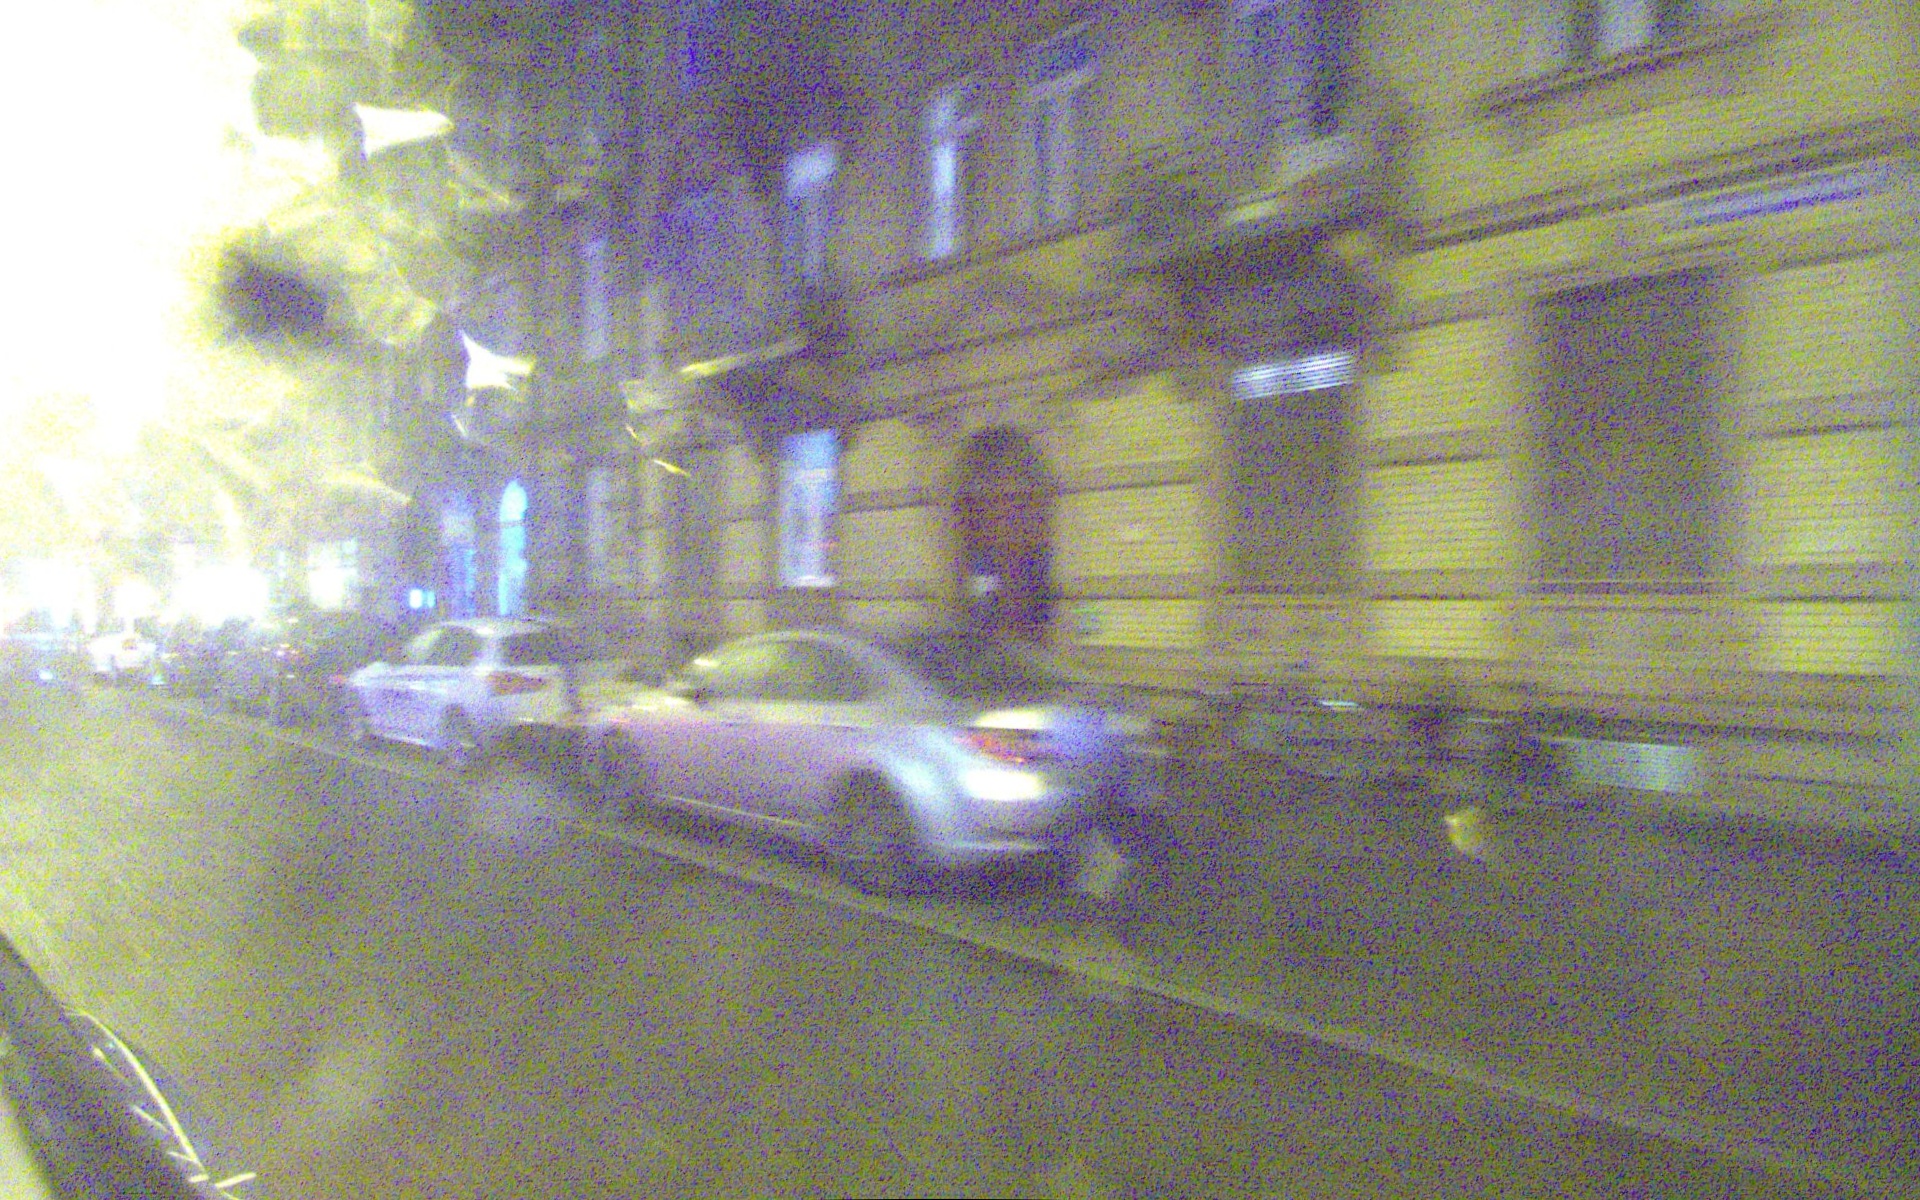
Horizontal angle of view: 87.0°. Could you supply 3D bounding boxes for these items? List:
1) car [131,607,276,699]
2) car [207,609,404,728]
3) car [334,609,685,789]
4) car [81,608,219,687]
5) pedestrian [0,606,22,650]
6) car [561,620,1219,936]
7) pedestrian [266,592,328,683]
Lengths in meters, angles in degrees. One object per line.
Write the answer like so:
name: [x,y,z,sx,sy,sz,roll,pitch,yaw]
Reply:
car: [-13.884,0.929,18.513,1.673,1.490,3.385,0,-2,-45]
car: [-9.330,0.877,14.332,3.382,1.464,1.512,-1,-1,42]
car: [-4.768,0.845,10.407,4.271,1.464,1.708,-1,-1,42]
car: [-16.955,0.965,21.120,3.962,1.490,1.674,-2,-2,43]
pedestrian: [-45.131,1.302,48.060,0.587,2.028,0.766,0,2,41]
car: [-0.756,0.851,6.767,4.553,1.402,1.708,-1,-1,42]
pedestrian: [-13.751,0.758,21.008,0.629,1.801,0.900,0,2,42]
